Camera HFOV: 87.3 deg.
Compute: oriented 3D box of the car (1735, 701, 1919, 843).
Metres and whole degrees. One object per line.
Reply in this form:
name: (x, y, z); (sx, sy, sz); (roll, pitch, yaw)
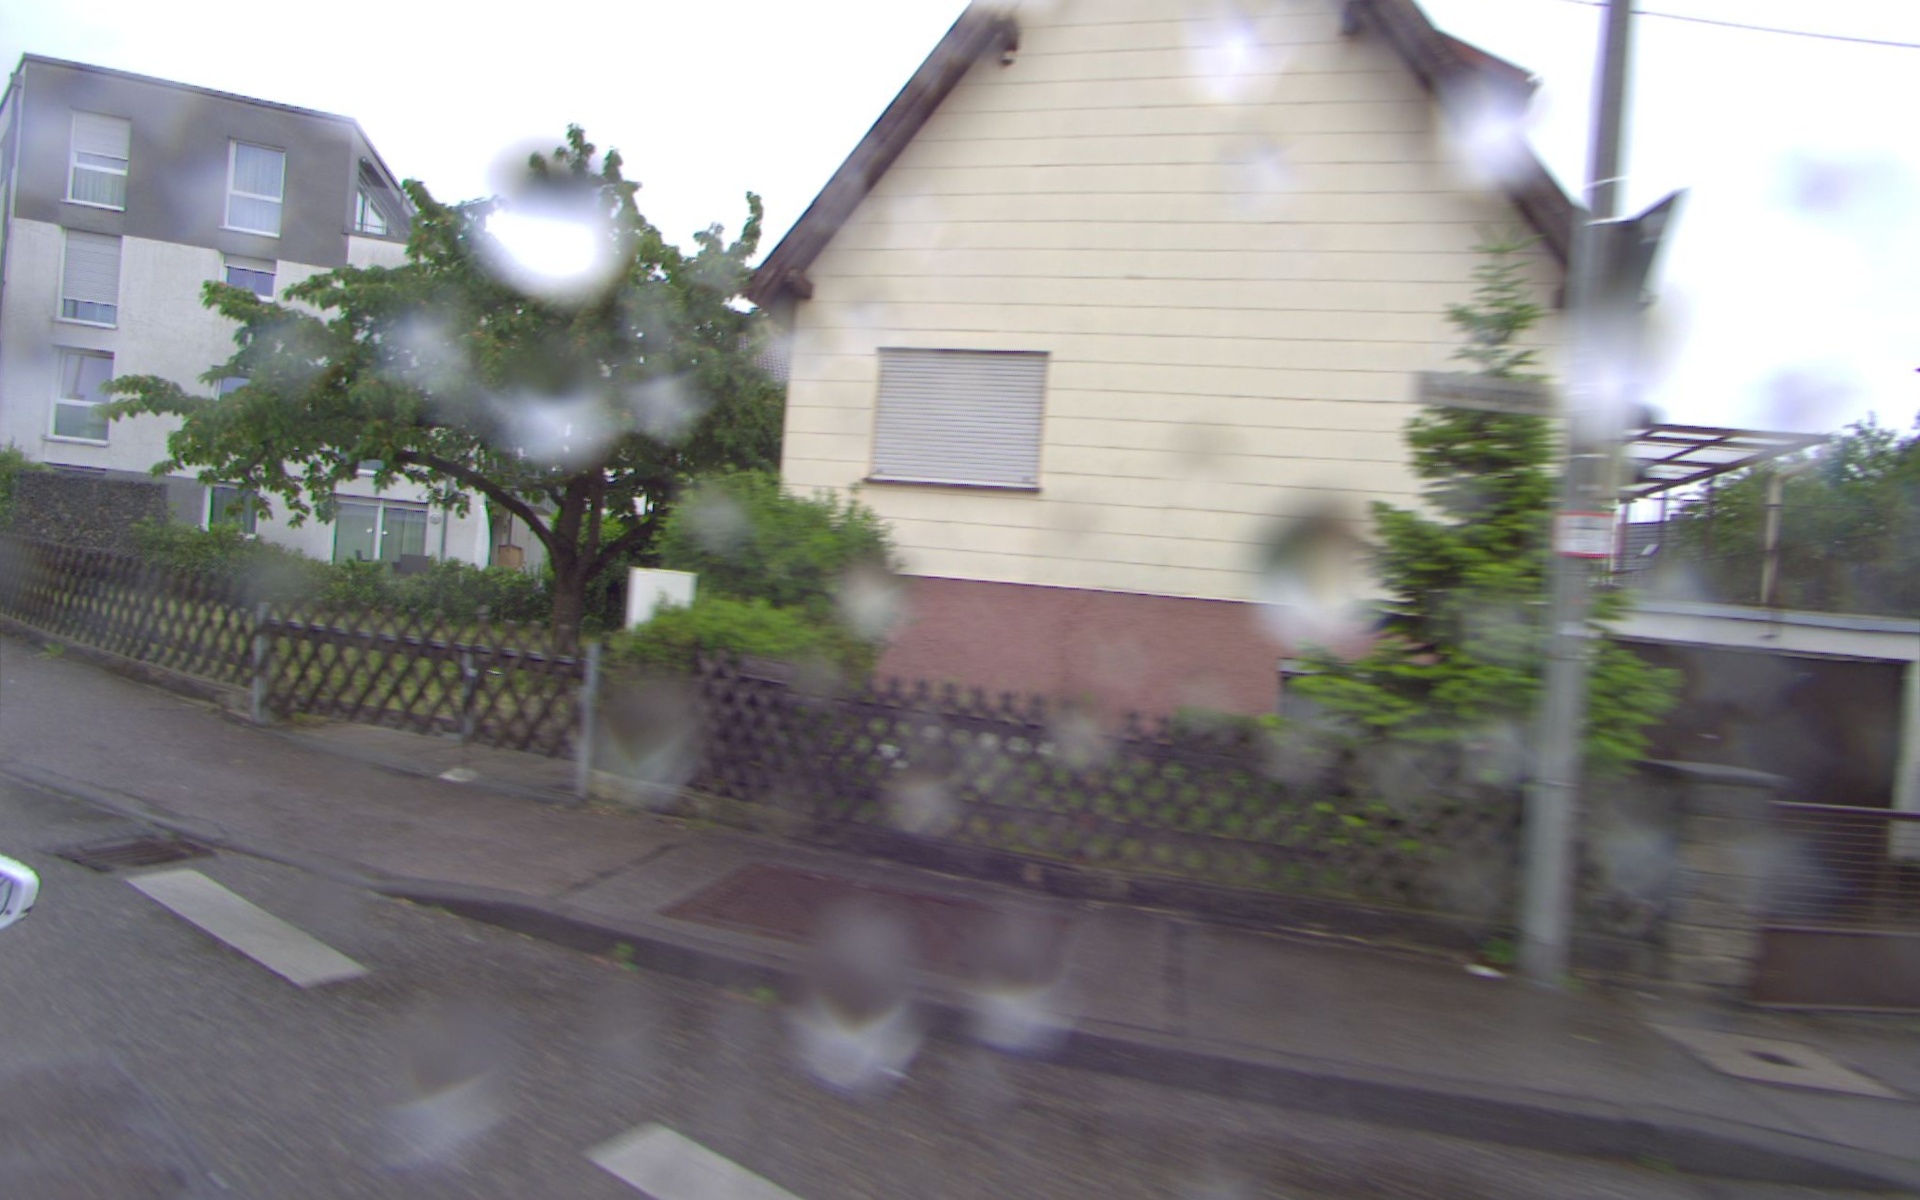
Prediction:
car: (13.054, 2.412, 13.649); (1.818, 1.515, 3.738); (6, 0, -6)
